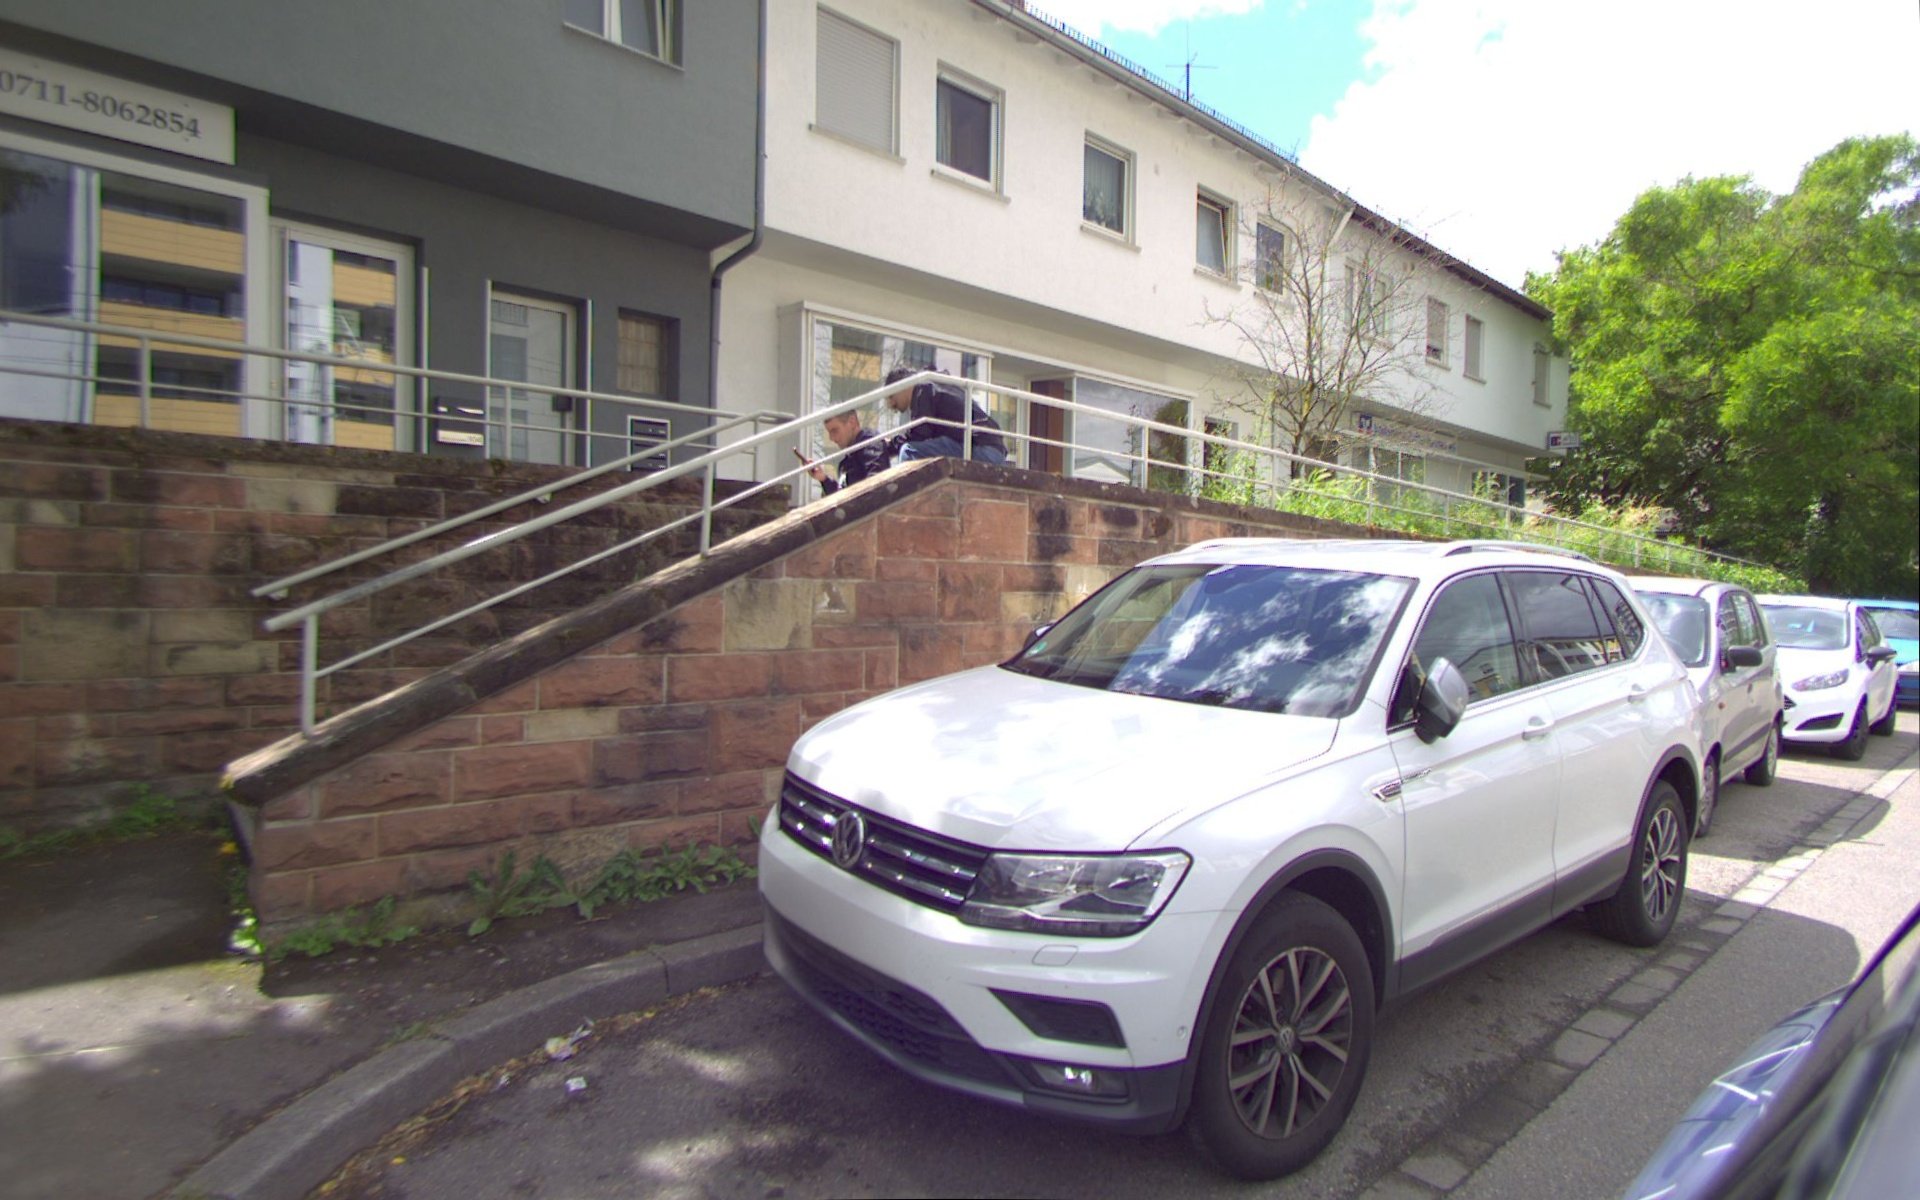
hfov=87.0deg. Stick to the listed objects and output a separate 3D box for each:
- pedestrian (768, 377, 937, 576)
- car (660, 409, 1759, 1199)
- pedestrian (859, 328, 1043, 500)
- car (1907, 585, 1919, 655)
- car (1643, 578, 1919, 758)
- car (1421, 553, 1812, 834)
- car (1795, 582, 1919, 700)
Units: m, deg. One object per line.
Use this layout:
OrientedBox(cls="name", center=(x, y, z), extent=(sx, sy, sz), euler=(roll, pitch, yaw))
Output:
OrientedBox(cls="pedestrian", center=(-0.577, -0.625, 5.384), extent=(0.605, 0.956, 0.643), euler=(1, 3, -42))
OrientedBox(cls="car", center=(1.349, 0.471, 3.997), extent=(4.492, 1.703, 1.829), euler=(0, 2, -39))
OrientedBox(cls="pedestrian", center=(-0.058, -1.014, 5.756), extent=(0.693, 0.800, 0.796), euler=(0, 1, -42))
OrientedBox(cls="car", center=(22.772, 0.478, 23.032), extent=(2.798, 1.552, 1.516), euler=(0, 3, -42))
OrientedBox(cls="car", center=(8.598, 0.568, 10.451), extent=(3.755, 1.508, 1.648), euler=(0, 1, -41))
OrientedBox(cls="car", center=(4.906, 0.504, 7.391), extent=(3.416, 1.571, 1.583), euler=(0, 1, -43))
OrientedBox(cls="car", center=(13.448, 0.531, 14.646), extent=(3.614, 1.474, 1.610), euler=(0, 3, -43))
